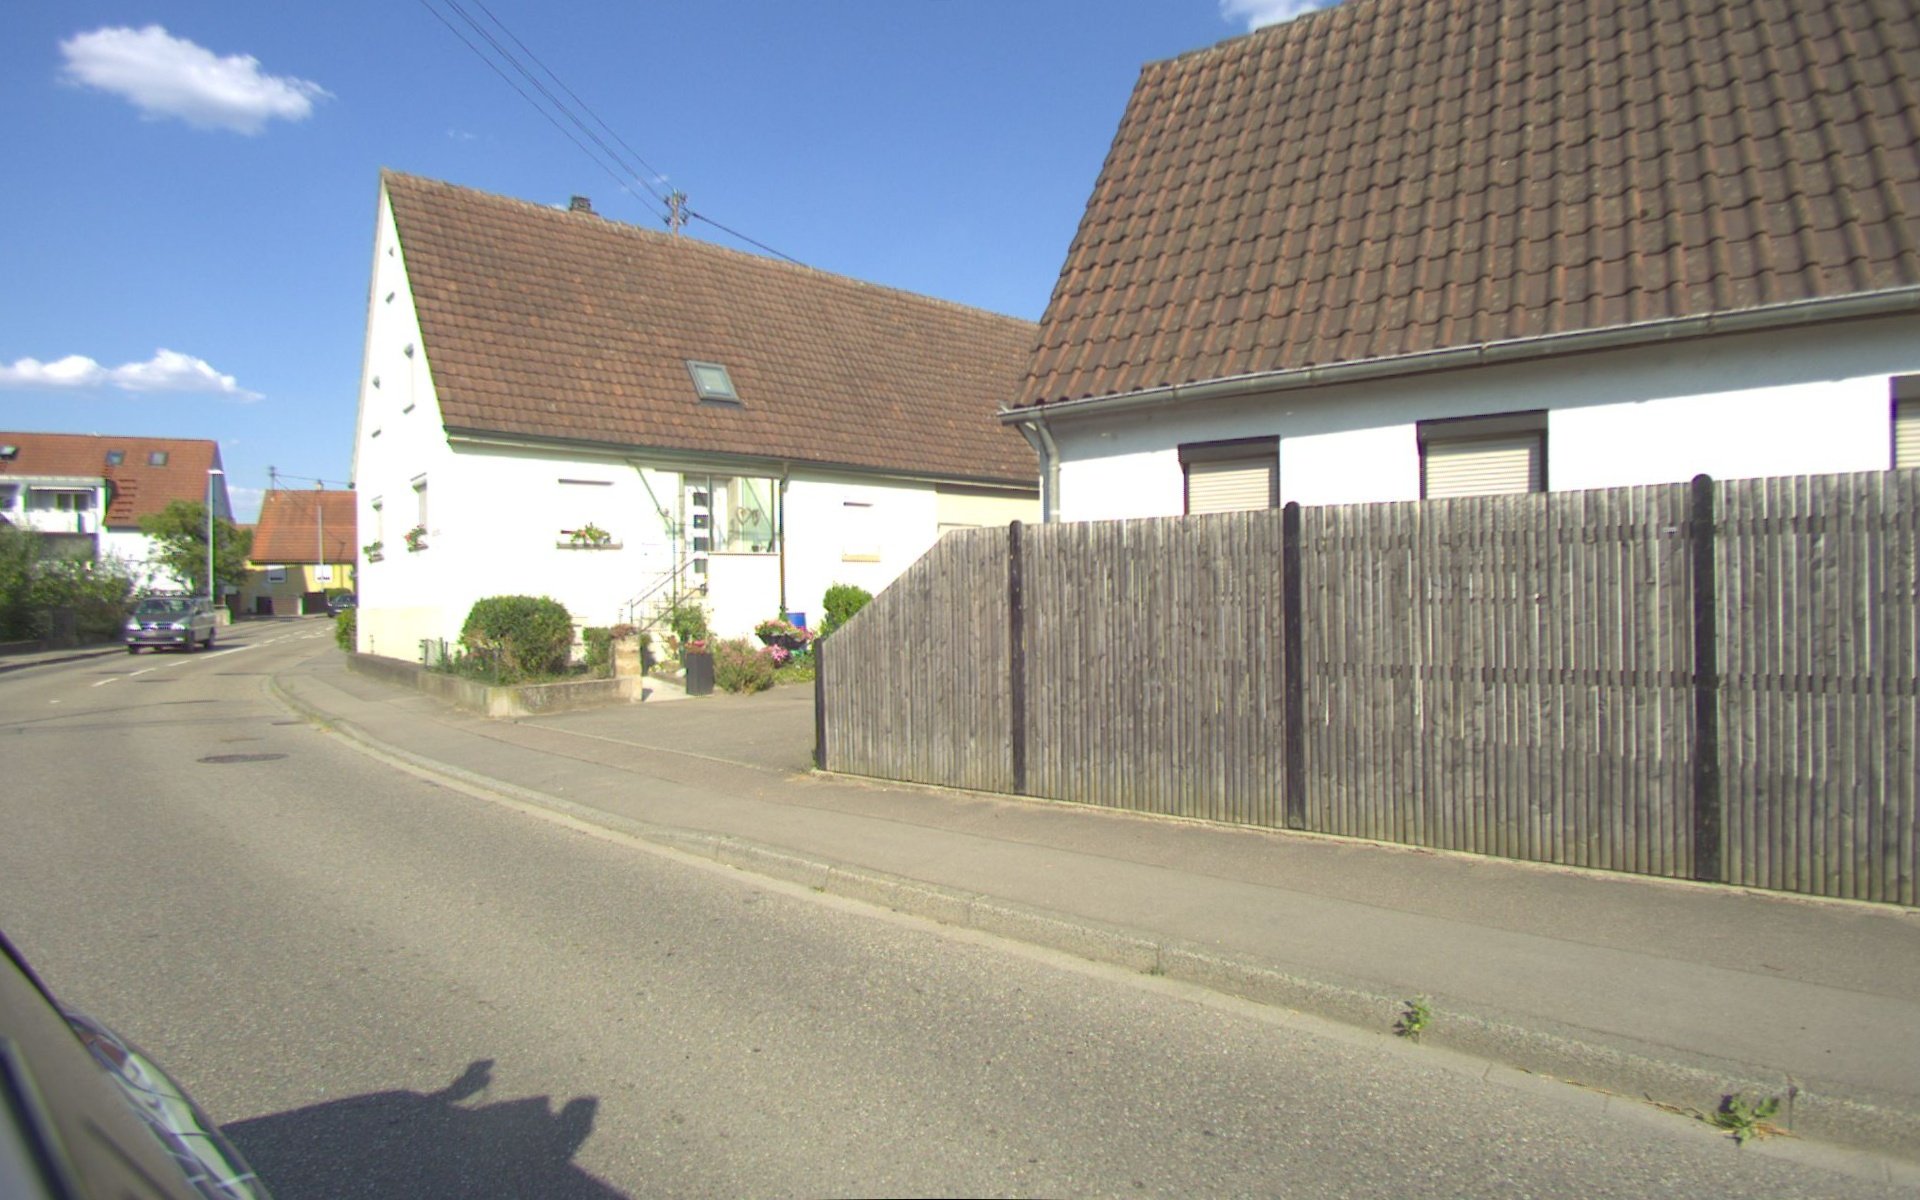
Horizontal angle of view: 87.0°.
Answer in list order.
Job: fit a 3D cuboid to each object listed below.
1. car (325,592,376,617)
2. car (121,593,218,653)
[{"bbox_3d":[-42.433,0.342,70.518,1.941,1.669,4.011,0,-1,-14],"label":"car"},{"bbox_3d":[-28.726,0.828,36.940,1.790,2.015,4.836,-1,-1,-26],"label":"car"}]
